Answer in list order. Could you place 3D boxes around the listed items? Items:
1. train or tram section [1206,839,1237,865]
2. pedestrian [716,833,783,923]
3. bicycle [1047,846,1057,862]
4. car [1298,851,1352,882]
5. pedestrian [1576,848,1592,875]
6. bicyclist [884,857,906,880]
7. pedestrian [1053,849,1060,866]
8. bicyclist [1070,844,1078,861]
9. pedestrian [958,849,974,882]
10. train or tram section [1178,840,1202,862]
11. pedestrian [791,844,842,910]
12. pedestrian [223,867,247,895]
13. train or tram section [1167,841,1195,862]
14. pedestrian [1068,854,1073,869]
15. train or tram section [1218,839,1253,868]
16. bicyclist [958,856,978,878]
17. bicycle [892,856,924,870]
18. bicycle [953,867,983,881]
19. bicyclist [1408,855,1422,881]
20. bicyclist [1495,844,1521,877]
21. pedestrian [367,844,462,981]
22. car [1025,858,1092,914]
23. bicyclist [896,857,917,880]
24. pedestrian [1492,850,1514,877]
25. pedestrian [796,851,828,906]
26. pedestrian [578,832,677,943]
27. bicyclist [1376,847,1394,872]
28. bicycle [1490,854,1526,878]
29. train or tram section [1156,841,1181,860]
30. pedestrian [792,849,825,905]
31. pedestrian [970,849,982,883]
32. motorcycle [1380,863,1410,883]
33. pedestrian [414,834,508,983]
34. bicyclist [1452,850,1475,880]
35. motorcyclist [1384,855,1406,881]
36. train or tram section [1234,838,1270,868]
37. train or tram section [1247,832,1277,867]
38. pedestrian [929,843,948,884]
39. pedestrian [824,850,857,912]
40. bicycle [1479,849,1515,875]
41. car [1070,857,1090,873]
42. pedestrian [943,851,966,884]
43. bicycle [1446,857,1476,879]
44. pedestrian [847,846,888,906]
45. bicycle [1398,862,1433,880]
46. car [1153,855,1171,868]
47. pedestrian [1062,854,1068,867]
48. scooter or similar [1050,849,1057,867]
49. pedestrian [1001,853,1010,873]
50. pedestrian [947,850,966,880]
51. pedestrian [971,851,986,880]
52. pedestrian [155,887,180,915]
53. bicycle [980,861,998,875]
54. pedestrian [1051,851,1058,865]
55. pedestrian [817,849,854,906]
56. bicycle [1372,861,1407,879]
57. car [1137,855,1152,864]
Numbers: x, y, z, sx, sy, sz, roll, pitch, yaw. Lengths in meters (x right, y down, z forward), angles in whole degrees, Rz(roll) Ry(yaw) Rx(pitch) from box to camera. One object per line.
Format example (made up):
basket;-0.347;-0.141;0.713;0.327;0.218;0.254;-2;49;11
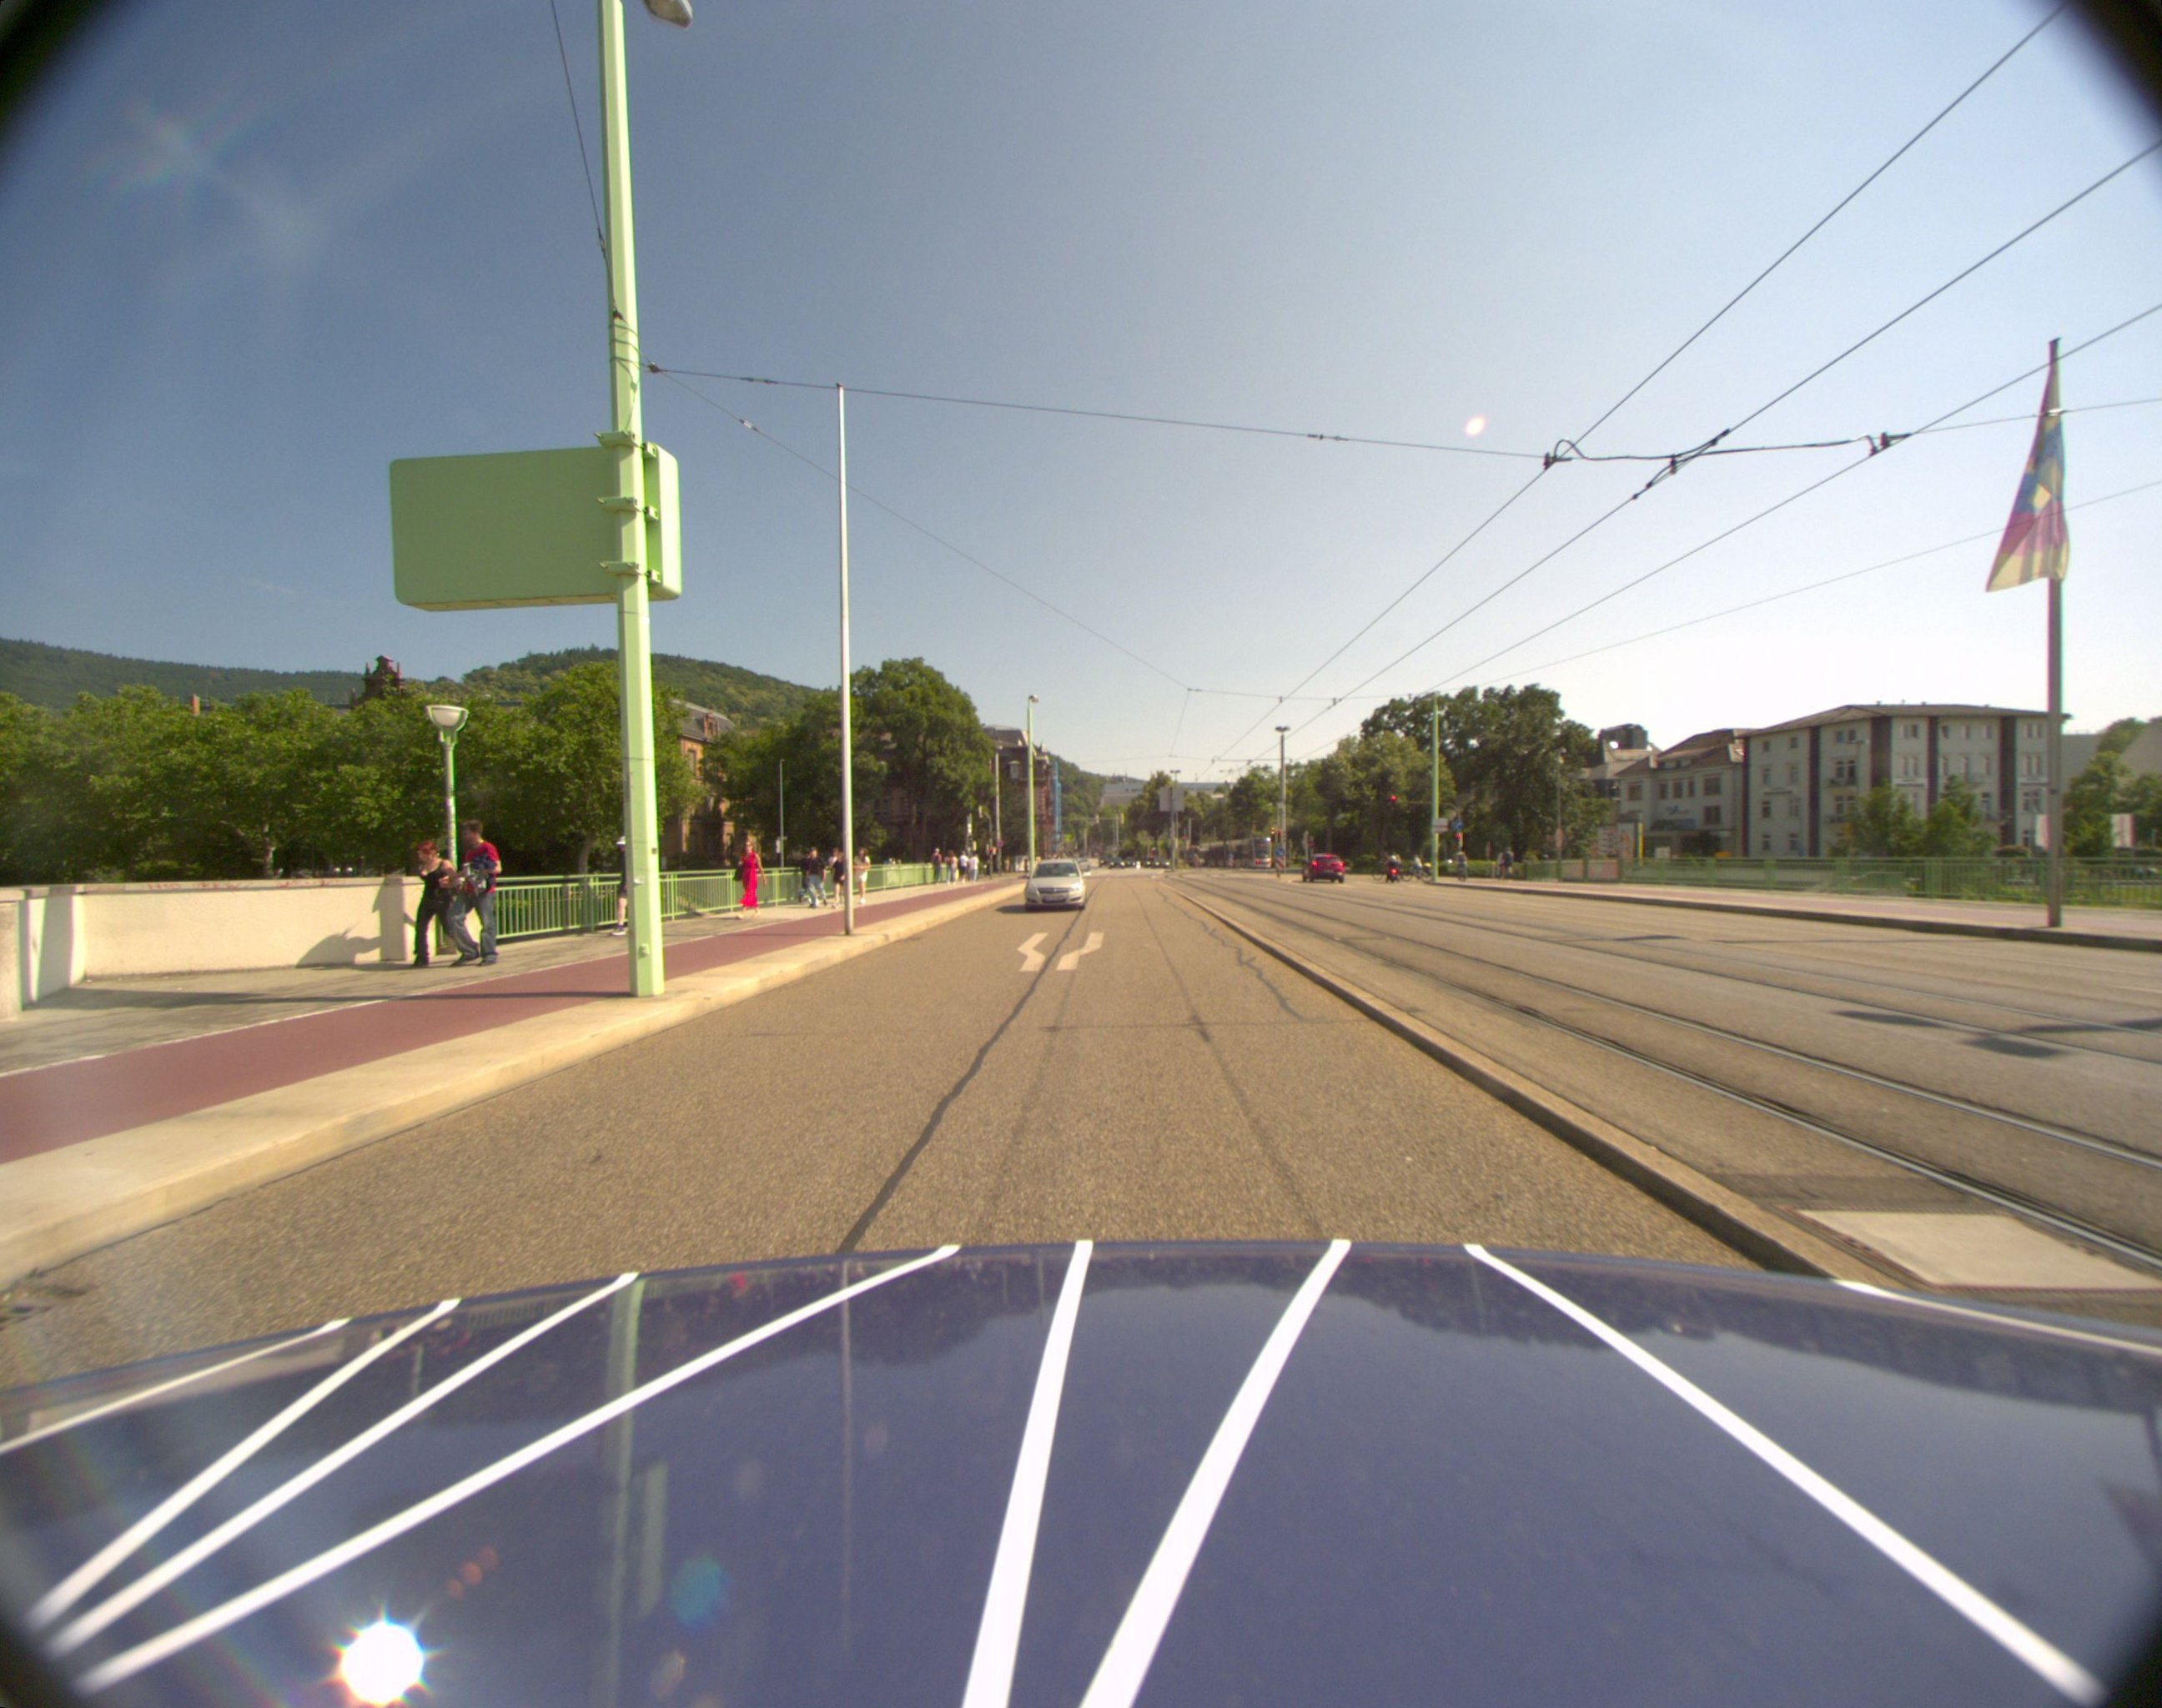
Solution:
train or tram section;21.073;-0.218;114.745;2.544;3.754;9.167;-1;-1;-3
pedestrian;-7.353;0.511;16.908;1.018;1.942;0.939;-1;1;1
bicycle;-2.018;-0.012;53.520;0.643;1.076;2.496;0;0;-1
car;13.127;0.624;41.142;1.997;1.506;4.191;-1;1;7
pedestrian;33.290;0.472;50.300;0.702;1.782;0.694;-1;1;-40
bicyclist;-12.158;0.941;49.634;1.081;1.465;0.929;-2;0;11
pedestrian;-3.021;0.396;93.152;0.814;2.002;0.815;2;0;-3
bicyclist;-0.861;-0.223;89.407;0.944;2.002;0.830;0;1;-3
pedestrian;-6.025;0.594;39.777;0.697;1.707;0.731;-1;1;-3
train or tram section;17.329;-0.510;121.253;2.767;3.383;5.885;0;0;-3
pedestrian;-7.216;0.618;20.799;0.987;1.759;1.254;0;0;-3
pedestrian;-54.411;1.745;48.867;0.742;1.765;0.677;-2;0;-3
train or tram section;17.024;-0.385;130.206;2.767;3.383;12.409;0;0;-2
pedestrian;-1.412;0.978;99.948;0.636;1.880;0.903;-1;0;-4
train or tram section;21.384;-0.147;105.850;2.544;3.756;9.163;0;2;-3
bicyclist;-7.628;0.874;51.181;1.082;1.465;0.801;-2;0;7
bicycle;-11.122;0.567;48.872;1.942;0.822;0.565;-2;0;7
bicycle;-7.610;1.342;51.186;1.942;0.822;0.565;-2;0;7
bicyclist;20.561;0.842;46.797;0.770;1.600;0.881;0;1;22
bicyclist;21.238;0.307;37.786;0.879;1.600;0.772;-1;1;2
pedestrian;-8.256;0.695;9.441;0.524;1.640;0.699;-1;1;-3
car;-0.593;0.881;23.053;1.802;1.492;4.497;0;0;1
bicyclist;-11.500;0.928;50.026;1.081;1.465;0.763;-2;0;23
pedestrian;23.135;0.514;41.690;0.745;1.447;0.899;-1;1;2
pedestrian;-7.778;0.706;21.970;0.651;1.553;0.692;0;0;3
pedestrian;-8.044;0.561;13.551;0.987;1.884;1.253;-1;1;-3
bicyclist;19.200;0.350;47.978;0.879;1.600;0.772;-1;1;7
bicycle;21.216;0.582;37.794;0.760;1.107;1.920;-1;1;3
train or tram section;16.380;-0.572;142.570;2.767;3.383;12.408;0;0;-2
pedestrian;-8.101;0.669;22.576;0.651;1.622;0.692;-2;0;3
pedestrian;-5.565;0.646;40.287;0.550;1.789;0.645;-1;1;-3
motorcycle;17.296;1.028;41.863;0.847;1.019;1.951;-2;0;1
pedestrian;-7.663;0.647;9.416;0.587;1.783;0.632;-1;1;-2
bicyclist;20.622;0.610;40.961;0.879;1.599;0.772;1;-1;5
motorcyclist;17.292;0.761;41.863;0.847;1.394;0.898;-2;1;0
train or tram section;21.657;-0.119;96.762;2.410;3.659;9.619;0;0;0
train or tram section;20.774;-0.532;87.591;2.474;3.755;11.858;-1;0;9
pedestrian;-7.125;0.479;38.062;0.805;2.002;0.954;-1;1;-3
pedestrian;-6.479;0.704;20.511;0.656;1.640;0.868;0;1;-3
bicycle;23.076;0.426;42.221;0.706;1.391;2.163;-4;0;0
car;-0.103;1.095;77.228;1.999;1.564;4.000;-2;0;-1
pedestrian;-6.309;0.659;37.967;0.987;1.606;0.921;-1;1;-3
bicycle;20.613;0.758;41.235;0.760;1.107;1.921;-3;-1;4
pedestrian;-6.404;0.639;22.840;0.987;1.740;0.929;-1;1;-3
bicycle;20.567;1.045;46.729;1.915;1.107;0.762;0;1;22
car;9.933;0.912;93.379;1.752;1.477;4.747;1;0;1
pedestrian;-2.163;0.844;99.691;0.707;1.743;0.902;0;2;-6
scooter or similar;-3.167;0.471;87.504;0.694;2.002;1.095;0;0;-3
pedestrian;-7.362;0.886;74.296;0.777;2.002;1.059;0;1;-2
pedestrian;-6.865;0.618;41.859;0.801;1.625;0.950;0;1;3
pedestrian;-6.646;0.744;49.271;0.775;1.844;0.645;-1;0;6
pedestrian;-59.240;3.033;49.290;0.742;1.765;0.677;-2;0;-3
bicycle;-8.918;1.335;73.684;0.801;1.199;2.276;2;5;19
pedestrian;-3.149;0.470;90.208;0.814;1.593;0.815;2;0;-3
pedestrian;-7.324;0.688;22.702;0.836;1.667;0.885;-1;1;-3
bicycle;19.448;0.997;47.902;1.917;1.107;0.761;-1;1;7
car;9.409;0.742;112.892;1.637;1.301;3.913;0;0;-3
